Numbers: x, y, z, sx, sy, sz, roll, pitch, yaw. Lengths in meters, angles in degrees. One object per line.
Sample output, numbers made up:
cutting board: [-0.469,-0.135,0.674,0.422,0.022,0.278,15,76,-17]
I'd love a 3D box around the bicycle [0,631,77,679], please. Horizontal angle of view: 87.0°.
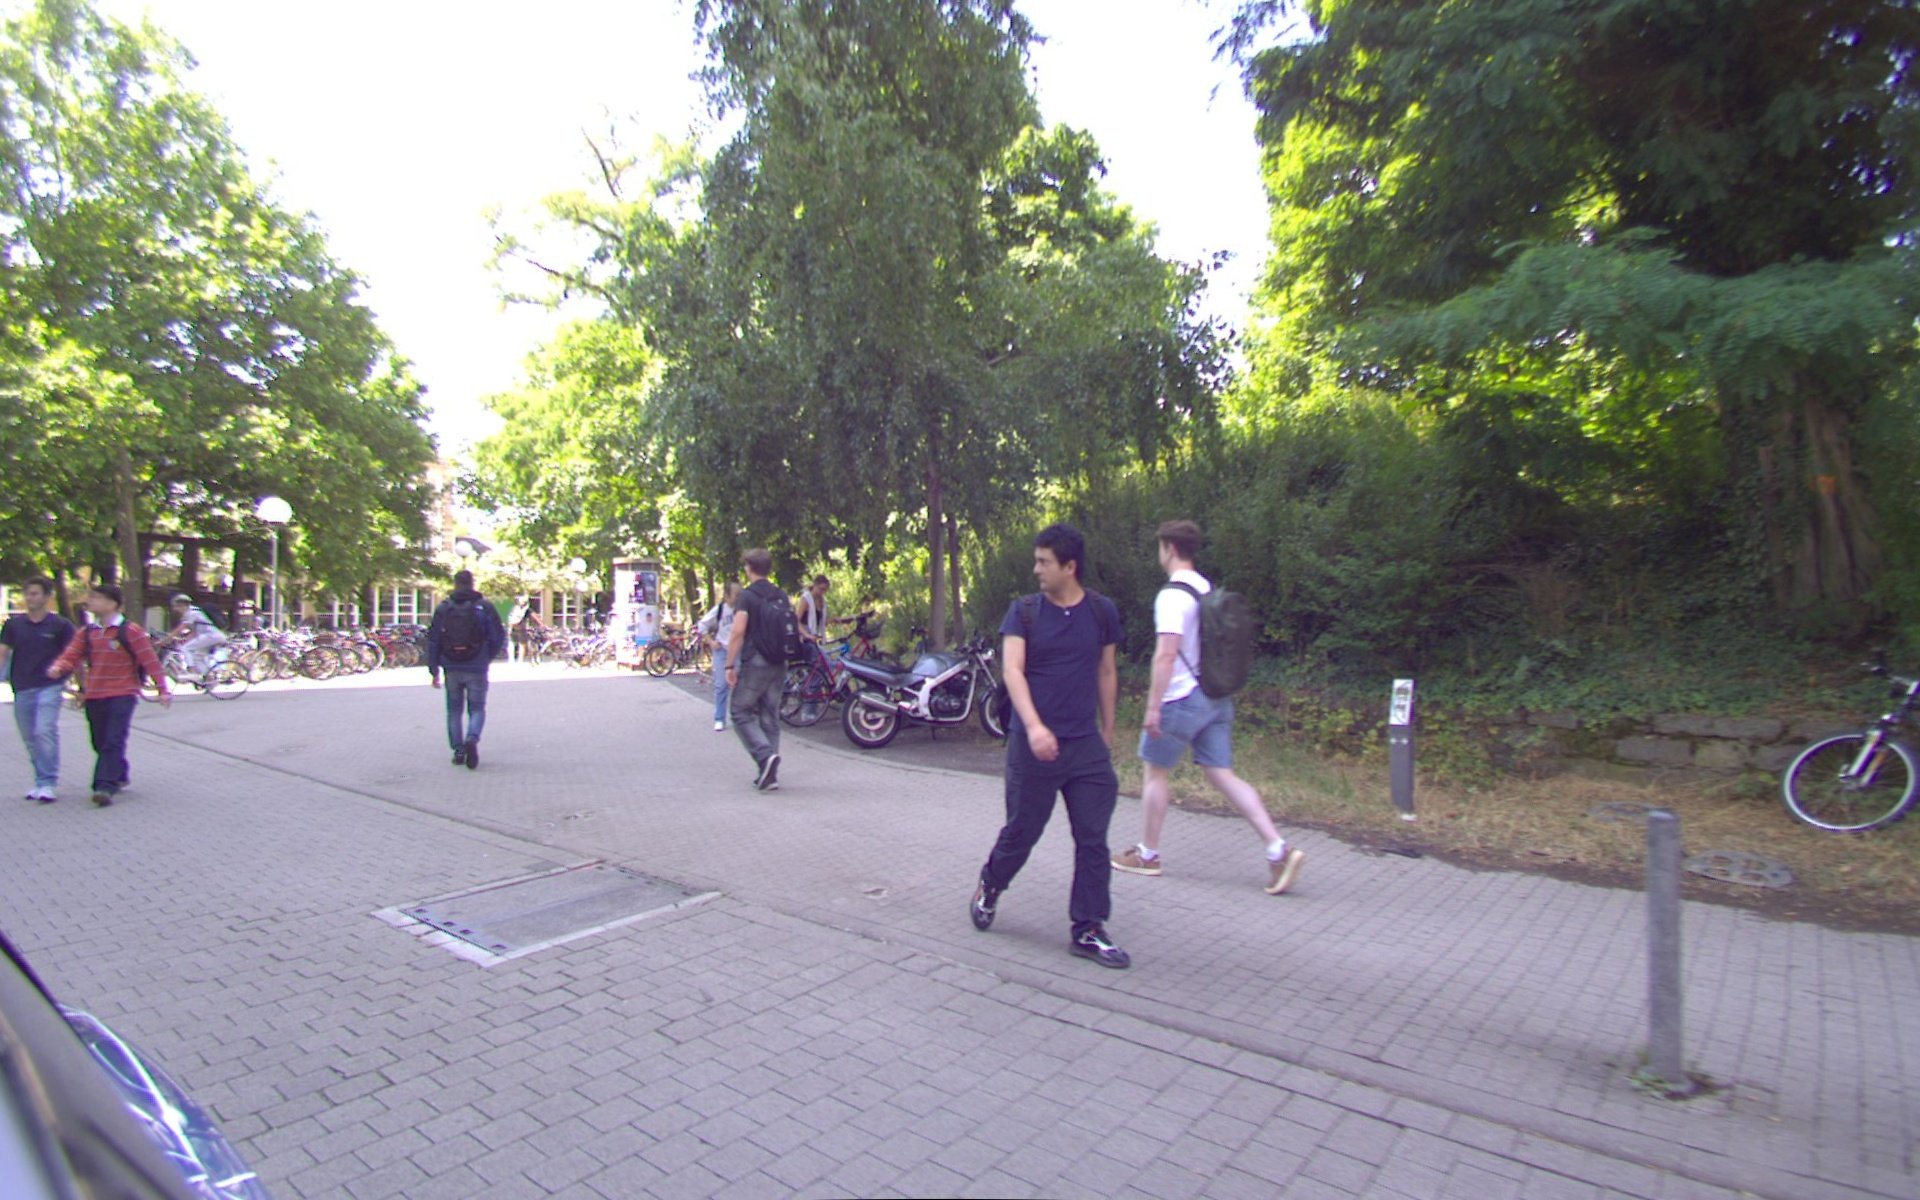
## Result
bicycle: [-23.535,1.377,25.655,0.472,1.154,1.683,-1,-1,28]

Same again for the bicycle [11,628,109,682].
bicycle: [-21.282,1.281,23.973,0.472,1.196,1.683,-1,-1,28]

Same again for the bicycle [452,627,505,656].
bicycle: [-18.690,1.598,39.300,1.834,1.092,0.474,-1,-1,3]

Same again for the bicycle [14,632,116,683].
bicycle: [-20.873,1.321,23.638,0.580,1.116,1.683,-1,-1,28]

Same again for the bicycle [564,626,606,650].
bicycle: [-17.632,1.782,47.607,1.834,1.092,0.474,-1,-1,3]

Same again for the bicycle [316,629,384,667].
bicycle: [-17.942,1.408,29.793,1.673,1.092,0.475,-1,-1,-5]

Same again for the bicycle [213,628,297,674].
bicycle: [-17.648,1.272,25.366,1.670,1.092,0.475,0,-1,-19]

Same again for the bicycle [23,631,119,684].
bicycle: [-20.315,1.293,23.167,0.469,1.116,1.693,-1,-1,12]

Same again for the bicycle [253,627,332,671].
bicycle: [-17.457,1.276,26.503,1.671,1.092,0.475,0,-1,-14]

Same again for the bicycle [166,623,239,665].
bicycle: [-22.709,1.321,30.358,1.671,1.209,0.577,0,-1,-14]

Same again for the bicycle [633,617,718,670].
bicycle: [-6.255,0.942,22.252,1.747,1.118,0.475,0,-1,-21]

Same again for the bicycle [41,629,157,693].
bicycle: [-16.969,1.179,19.976,0.473,1.177,1.680,-1,-1,34]

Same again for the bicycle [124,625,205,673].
bicycle: [-21.757,1.324,27.706,0.500,1.229,1.683,-1,-1,28]

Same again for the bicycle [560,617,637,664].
bicycle: [-8.869,0.982,24.867,1.748,1.118,0.475,0,-1,-11]

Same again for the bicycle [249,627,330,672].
bicycle: [-17.247,1.265,26.063,1.671,1.092,0.475,0,-1,-14]

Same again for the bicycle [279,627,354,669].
bicycle: [-17.588,1.306,27.679,1.671,1.092,0.475,0,-1,-14]

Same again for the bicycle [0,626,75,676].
bicycle: [-24.250,1.321,26.368,0.495,1.245,1.721,-1,-1,32]

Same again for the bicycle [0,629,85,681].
bicycle: [-22.491,1.322,24.677,0.535,1.208,1.681,-1,-1,31]

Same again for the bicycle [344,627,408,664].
bicycle: [-17.899,1.402,31.033,1.673,1.092,0.475,-1,-1,-5]

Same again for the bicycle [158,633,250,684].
bicycle: [-17.180,1.304,23.027,1.672,1.092,0.475,0,-1,-37]

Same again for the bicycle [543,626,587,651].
bicycle: [-18.098,1.759,46.338,1.834,1.092,0.474,-1,-1,3]

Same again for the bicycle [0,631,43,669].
bicycle: [-28.711,1.516,30.455,1.603,1.116,0.564,0,-1,-37]

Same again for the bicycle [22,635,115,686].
bicycle: [-19.495,1.302,22.174,0.468,1.026,1.697,-1,-1,5]

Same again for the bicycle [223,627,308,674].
bicycle: [-17.147,1.234,25.013,1.670,1.092,0.475,0,-1,-19]

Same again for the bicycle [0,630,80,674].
bicycle: [-25.006,1.384,27.416,0.494,1.116,1.724,-1,-1,27]

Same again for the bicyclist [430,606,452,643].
bicyclist: [-26.899,1.287,52.489,0.853,1.906,0.807,2,-2,-36]

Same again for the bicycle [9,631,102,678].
bicycle: [-22.667,1.346,25.405,0.472,1.116,1.683,-1,-1,28]

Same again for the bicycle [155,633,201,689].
bicycle: [-16.129,1.227,20.864,1.700,1.092,0.501,-1,-1,43]

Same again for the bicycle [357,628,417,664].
bicycle: [-18.249,1.461,32.247,1.677,1.092,0.474,-1,-1,3]

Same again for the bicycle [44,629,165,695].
bicycle: [-16.104,1.146,19.094,0.472,1.168,1.682,-1,-1,31]

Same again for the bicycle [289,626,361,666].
bicycle: [-18.006,1.295,28.716,1.671,1.092,0.475,0,-1,-14]

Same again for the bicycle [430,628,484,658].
bicycle: [-18.903,1.601,38.040,1.834,1.092,0.474,-1,-1,3]

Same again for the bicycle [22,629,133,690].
bicycle: [-18.213,1.209,20.920,0.472,1.177,1.684,-1,-1,27]

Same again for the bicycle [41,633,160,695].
bicycle: [-16.446,1.208,19.414,0.473,1.099,1.680,-1,-1,34]

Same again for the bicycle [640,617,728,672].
bicycle: [-5.852,0.924,21.462,1.747,1.118,0.475,0,-1,-21]

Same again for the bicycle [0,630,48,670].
bicycle: [-27.467,1.447,29.137,1.711,1.116,0.576,0,-1,-31]

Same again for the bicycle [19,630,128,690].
bicycle: [-18.610,1.240,21.291,0.471,1.177,1.686,-1,-1,23]

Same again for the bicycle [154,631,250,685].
bicycle: [-16.543,1.246,22.115,1.672,1.092,0.475,0,-1,-38]

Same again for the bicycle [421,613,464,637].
bicycle: [-26.843,1.298,52.541,1.855,1.180,0.807,-2,-1,-36]

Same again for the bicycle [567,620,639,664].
bicycle: [-9.385,1.092,26.652,1.748,1.118,0.475,0,-1,-11]

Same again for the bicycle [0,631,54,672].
bicycle: [-26.778,1.456,28.601,0.496,1.116,1.717,-1,-1,40]

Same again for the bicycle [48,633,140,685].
bicycle: [-18.991,1.275,22.233,0.468,1.070,1.697,-1,-1,5]

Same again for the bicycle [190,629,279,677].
bicycle: [-17.209,1.253,24.036,1.671,1.092,0.475,0,-1,-15]

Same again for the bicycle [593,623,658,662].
bicycle: [-9.787,1.239,29.663,1.748,1.118,0.518,0,-1,-11]

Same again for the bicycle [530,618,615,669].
bicycle: [-8.869,0.990,23.200,1.750,1.118,0.475,-1,-1,-6]

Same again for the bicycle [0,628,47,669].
bicycle: [-27.879,1.420,29.666,1.603,1.152,0.498,0,-1,-37]

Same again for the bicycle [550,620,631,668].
bicycle: [-8.859,1.052,24.308,1.750,1.118,0.475,-1,-1,-6]

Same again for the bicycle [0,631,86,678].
bicycle: [-23.122,1.345,25.438,0.472,1.116,1.683,-1,-1,28]

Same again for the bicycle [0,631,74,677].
bicycle: [-23.926,1.367,26.007,0.495,1.116,1.683,-1,-1,29]

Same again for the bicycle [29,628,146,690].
bicycle: [-17.635,1.177,20.507,1.752,1.177,0.475,0,-1,-37]

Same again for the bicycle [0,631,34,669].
bicycle: [-28.475,1.489,29.900,1.603,1.116,0.498,0,-1,-37]

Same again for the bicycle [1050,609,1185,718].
bicycle: [1.652,0.637,10.881,0.466,1.055,1.705,-2,1,-28]

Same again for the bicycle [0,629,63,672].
bicycle: [-26.250,1.401,28.270,0.496,1.135,1.720,-1,-1,35]

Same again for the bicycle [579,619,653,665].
bicycle: [-8.763,1.063,25.833,1.748,1.118,0.475,0,-1,-11]

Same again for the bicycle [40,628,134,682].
bicycle: [-19.865,1.233,23.066,0.469,1.166,1.693,-1,-1,12]

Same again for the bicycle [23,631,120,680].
bicycle: [-21.522,1.328,24.548,0.563,1.116,1.683,-1,-1,28]

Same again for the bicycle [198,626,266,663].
bicycle: [-22.945,1.404,31.913,1.671,1.116,0.504,0,-1,-14]

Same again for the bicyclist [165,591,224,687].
bicyclist: [-13.000,0.652,17.190,0.596,1.580,0.711,-2,-1,43]
